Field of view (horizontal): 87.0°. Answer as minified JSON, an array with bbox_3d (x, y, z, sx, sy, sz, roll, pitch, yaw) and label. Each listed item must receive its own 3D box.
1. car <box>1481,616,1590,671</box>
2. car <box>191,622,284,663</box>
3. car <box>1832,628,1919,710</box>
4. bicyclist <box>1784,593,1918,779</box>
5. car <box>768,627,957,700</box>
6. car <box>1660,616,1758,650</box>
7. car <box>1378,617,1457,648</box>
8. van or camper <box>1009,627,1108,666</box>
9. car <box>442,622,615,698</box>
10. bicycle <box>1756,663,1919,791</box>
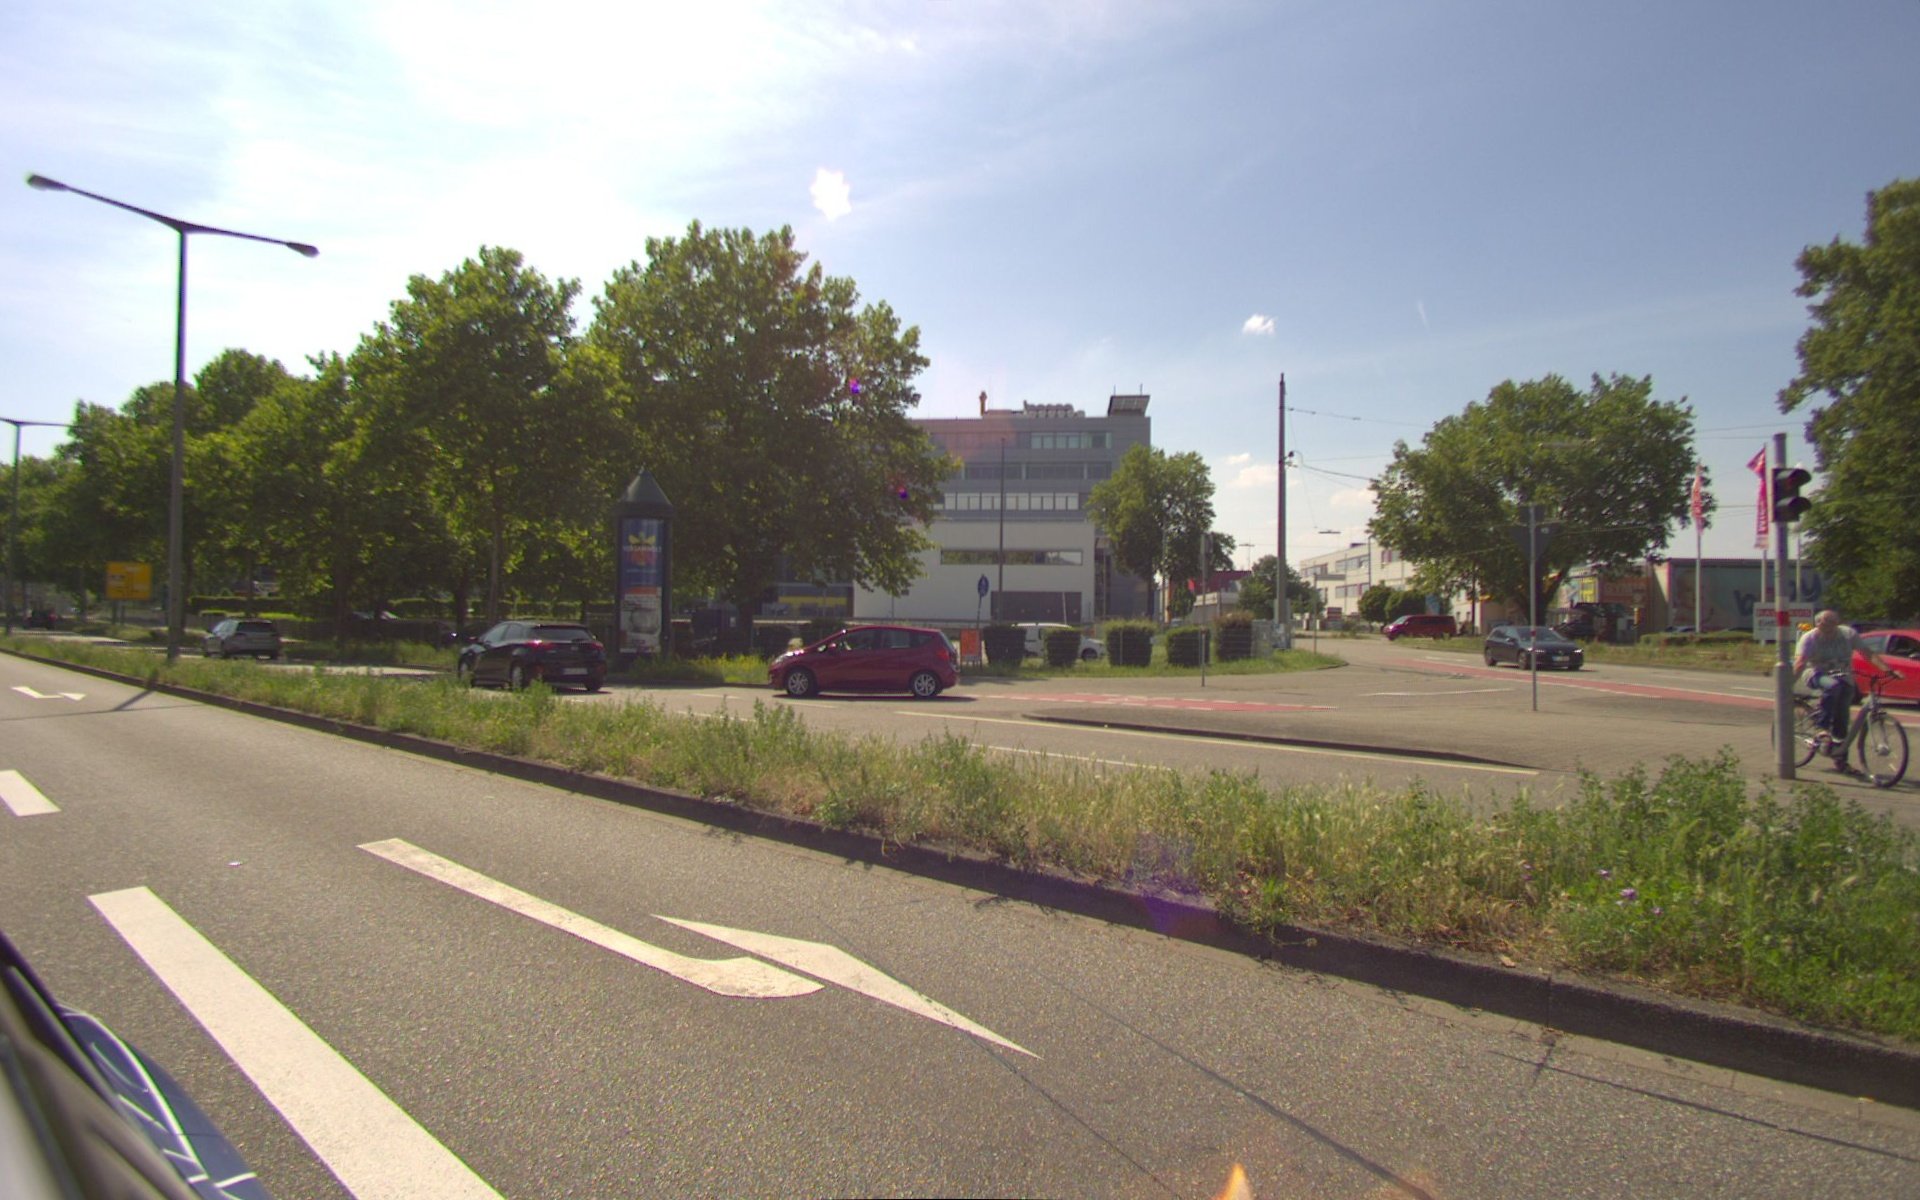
[{"bbox_3d":[19.181,1.426,33.942,1.979,1.712,3.986,0,-2,11],"label":"car"},{"bbox_3d":[-26.938,1.576,37.703,4.219,1.433,1.820,-1,-4,41],"label":"car"},{"bbox_3d":[18.013,1.225,17.944,1.824,1.460,3.993,0,-2,5],"label":"car"},{"bbox_3d":[9.013,0.838,10.273,0.698,1.802,0.765,0,-2,12],"label":"bicyclist"},{"bbox_3d":[-1.951,1.301,21.132,3.716,1.445,1.852,0,-3,2],"label":"car"},{"bbox_3d":[51.903,2.288,70.231,4.981,2.295,2.147,0,-2,7],"label":"car"},{"bbox_3d":[34.710,2.439,76.894,4.978,2.295,2.148,0,-2,6],"label":"car"},{"bbox_3d":[4.510,2.125,46.749,4.453,1.705,1.998,0,-1,4],"label":"van or camper"},{"bbox_3d":[-9.223,1.220,21.517,3.892,1.433,1.820,0,-2,40],"label":"car"},{"bbox_3d":[8.969,1.216,10.218,0.520,1.072,2.157,0,-1,11],"label":"bicycle"}]
